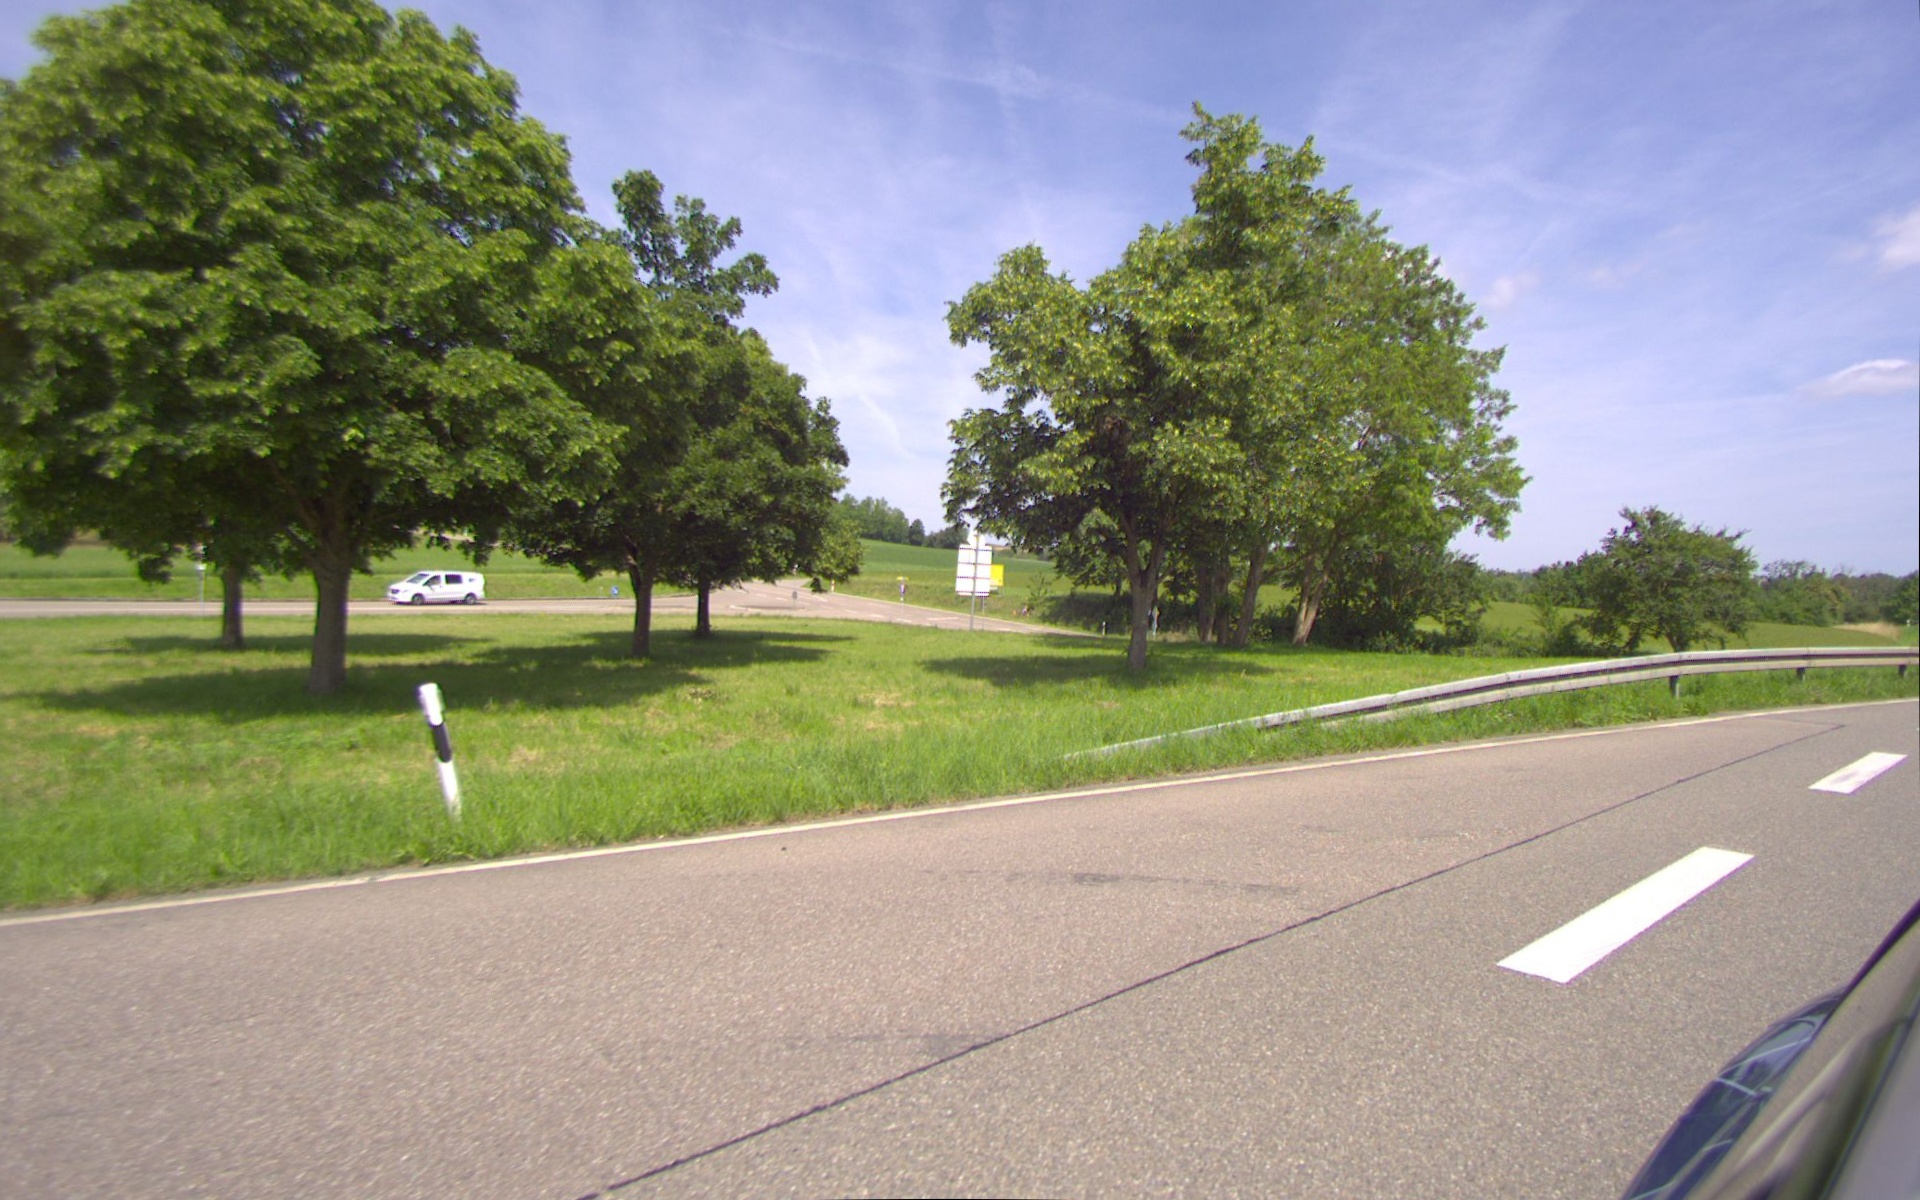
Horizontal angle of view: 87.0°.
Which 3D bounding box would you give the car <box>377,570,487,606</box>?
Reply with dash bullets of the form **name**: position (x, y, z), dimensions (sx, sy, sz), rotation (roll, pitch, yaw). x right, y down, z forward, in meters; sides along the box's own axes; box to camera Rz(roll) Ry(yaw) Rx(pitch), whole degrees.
- **car**: position (-30.214, -0.716, 58.070), dimensions (1.985, 1.869, 5.361), rotation (4, 3, 31)
